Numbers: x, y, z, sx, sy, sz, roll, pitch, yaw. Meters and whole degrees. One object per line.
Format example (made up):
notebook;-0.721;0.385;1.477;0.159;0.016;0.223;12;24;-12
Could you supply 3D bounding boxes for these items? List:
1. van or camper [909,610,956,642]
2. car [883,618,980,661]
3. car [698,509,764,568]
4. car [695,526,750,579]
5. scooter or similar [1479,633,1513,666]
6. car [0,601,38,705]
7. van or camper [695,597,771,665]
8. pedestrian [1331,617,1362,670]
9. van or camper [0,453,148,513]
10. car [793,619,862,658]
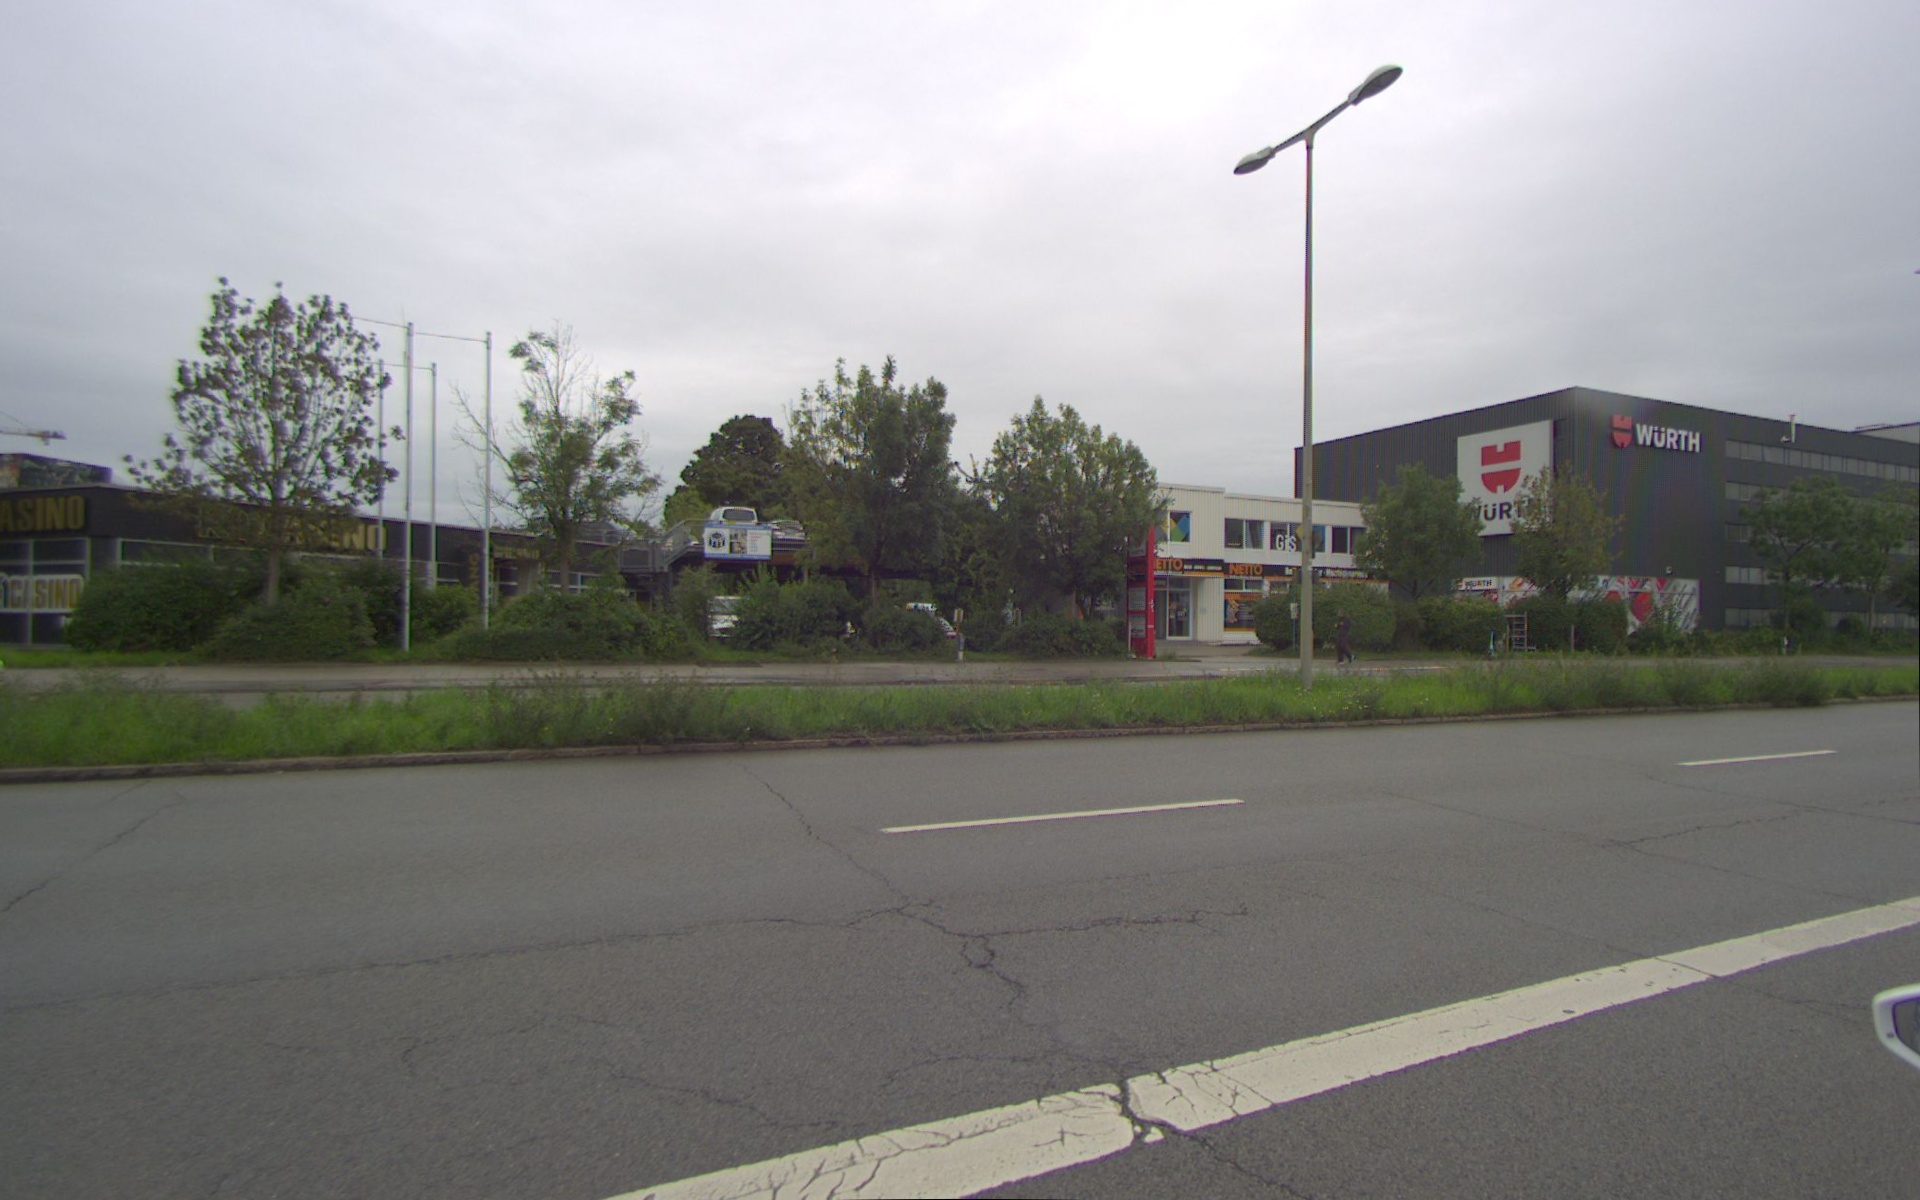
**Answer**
van or camper;-2.405;2.231;86.771;1.977;2.609;4.986;1;-1;-30
car;-1.061;1.369;35.614;1.847;1.439;3.970;1;-1;-28
car;-10.873;-2.838;47.394;2.106;2.039;4.772;4;-5;-23
car;-13.633;-2.658;57.465;2.106;2.400;4.772;4;-5;-23
scooter or similar;20.897;1.929;39.163;1.369;1.243;0.444;1;-1;-27
car;-16.899;0.750;14.728;4.512;1.592;1.988;2;-2;-25
van or camper;-7.399;0.988;32.459;1.969;2.040;3.984;1;-1;-19
pedestrian;13.477;1.511;35.029;0.806;1.854;0.621;1;-1;-25
van or camper;-50.138;-6.532;56.775;2.592;2.274;6.047;1;-3;17
car;-5.982;1.683;44.969;1.884;1.585;3.974;3;-2;-25
